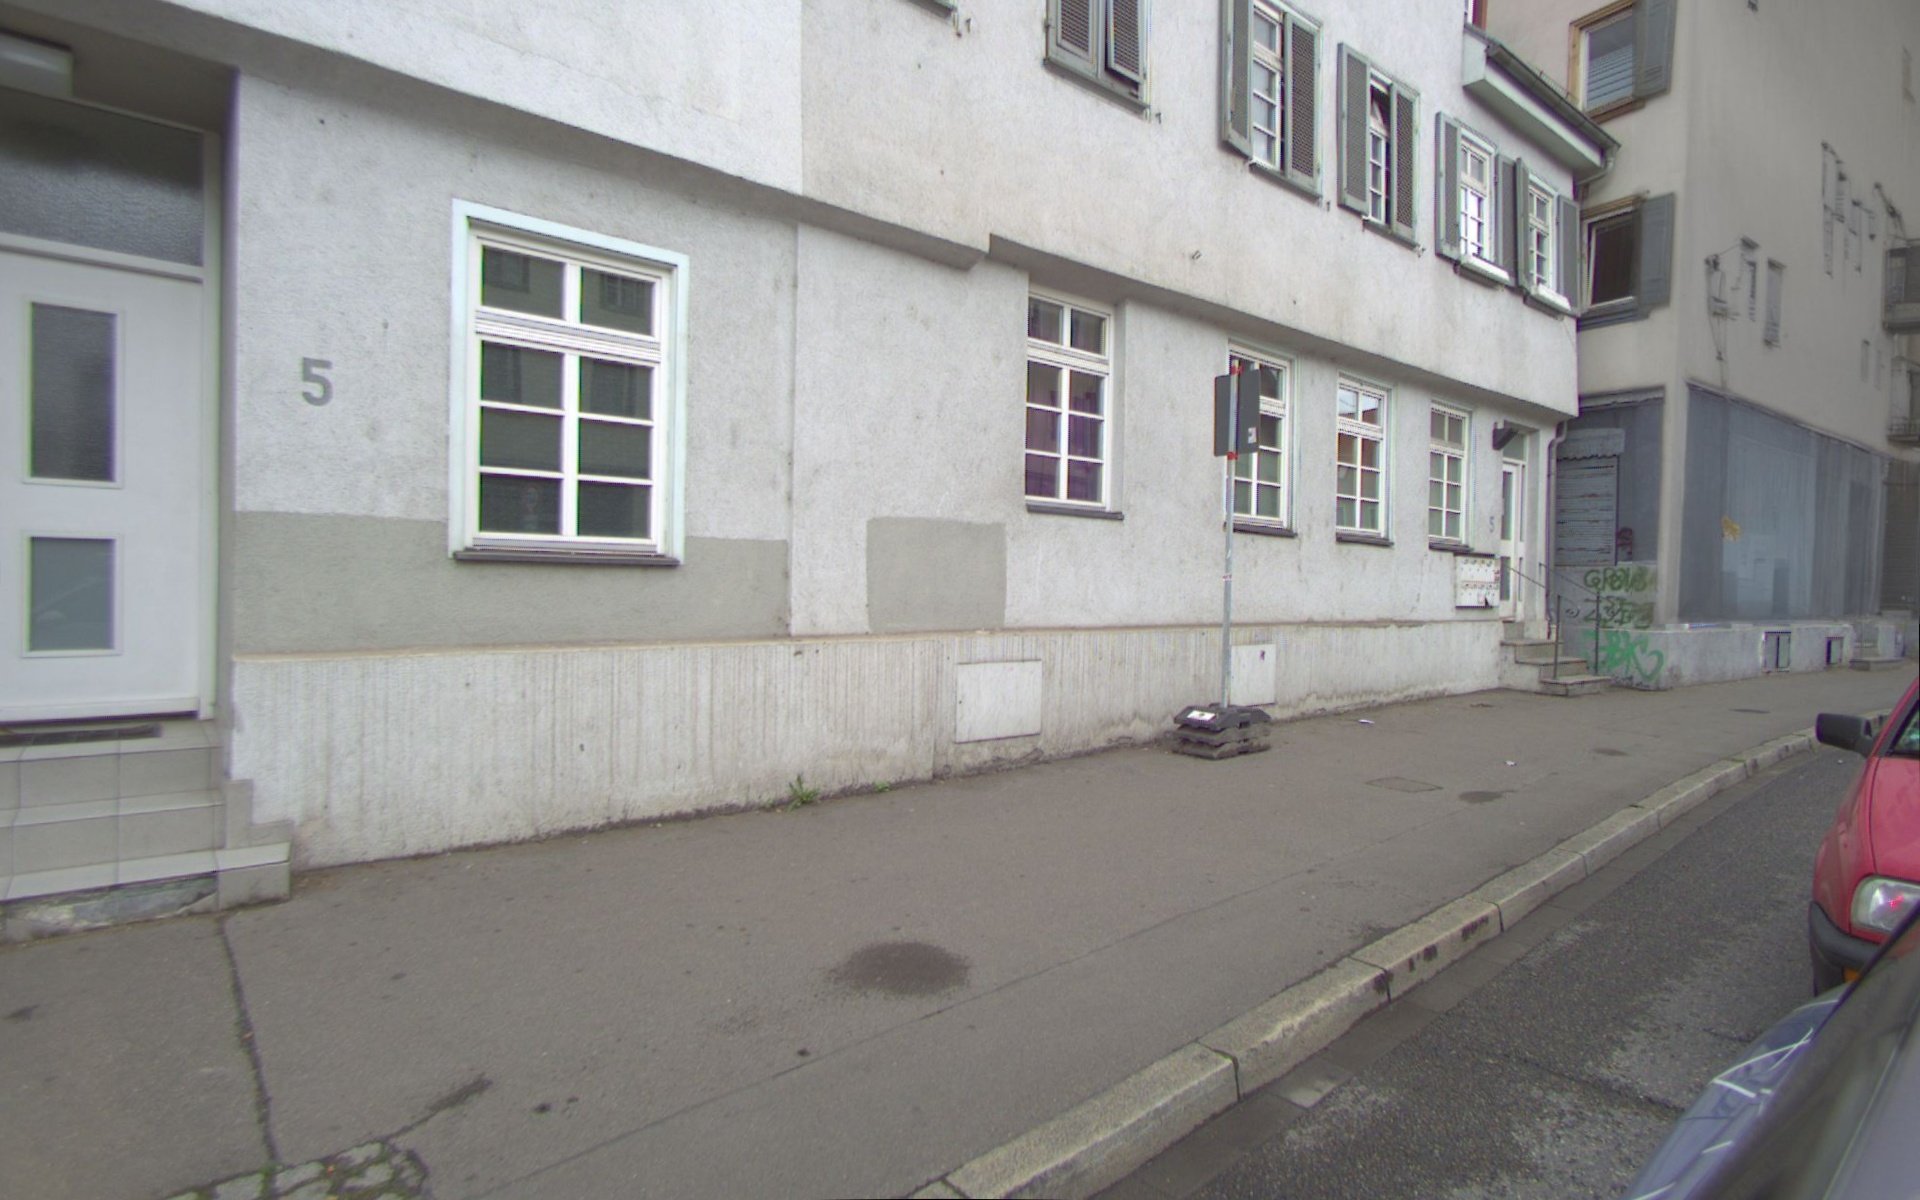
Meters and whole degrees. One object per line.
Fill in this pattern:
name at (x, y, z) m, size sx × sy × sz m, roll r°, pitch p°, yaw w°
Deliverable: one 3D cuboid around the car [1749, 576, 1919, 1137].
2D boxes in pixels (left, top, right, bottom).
car at (4.380, 0.645, 3.467) m, size 3.928 × 1.443 × 1.792 m, roll -2°, pitch 2°, yaw -39°
